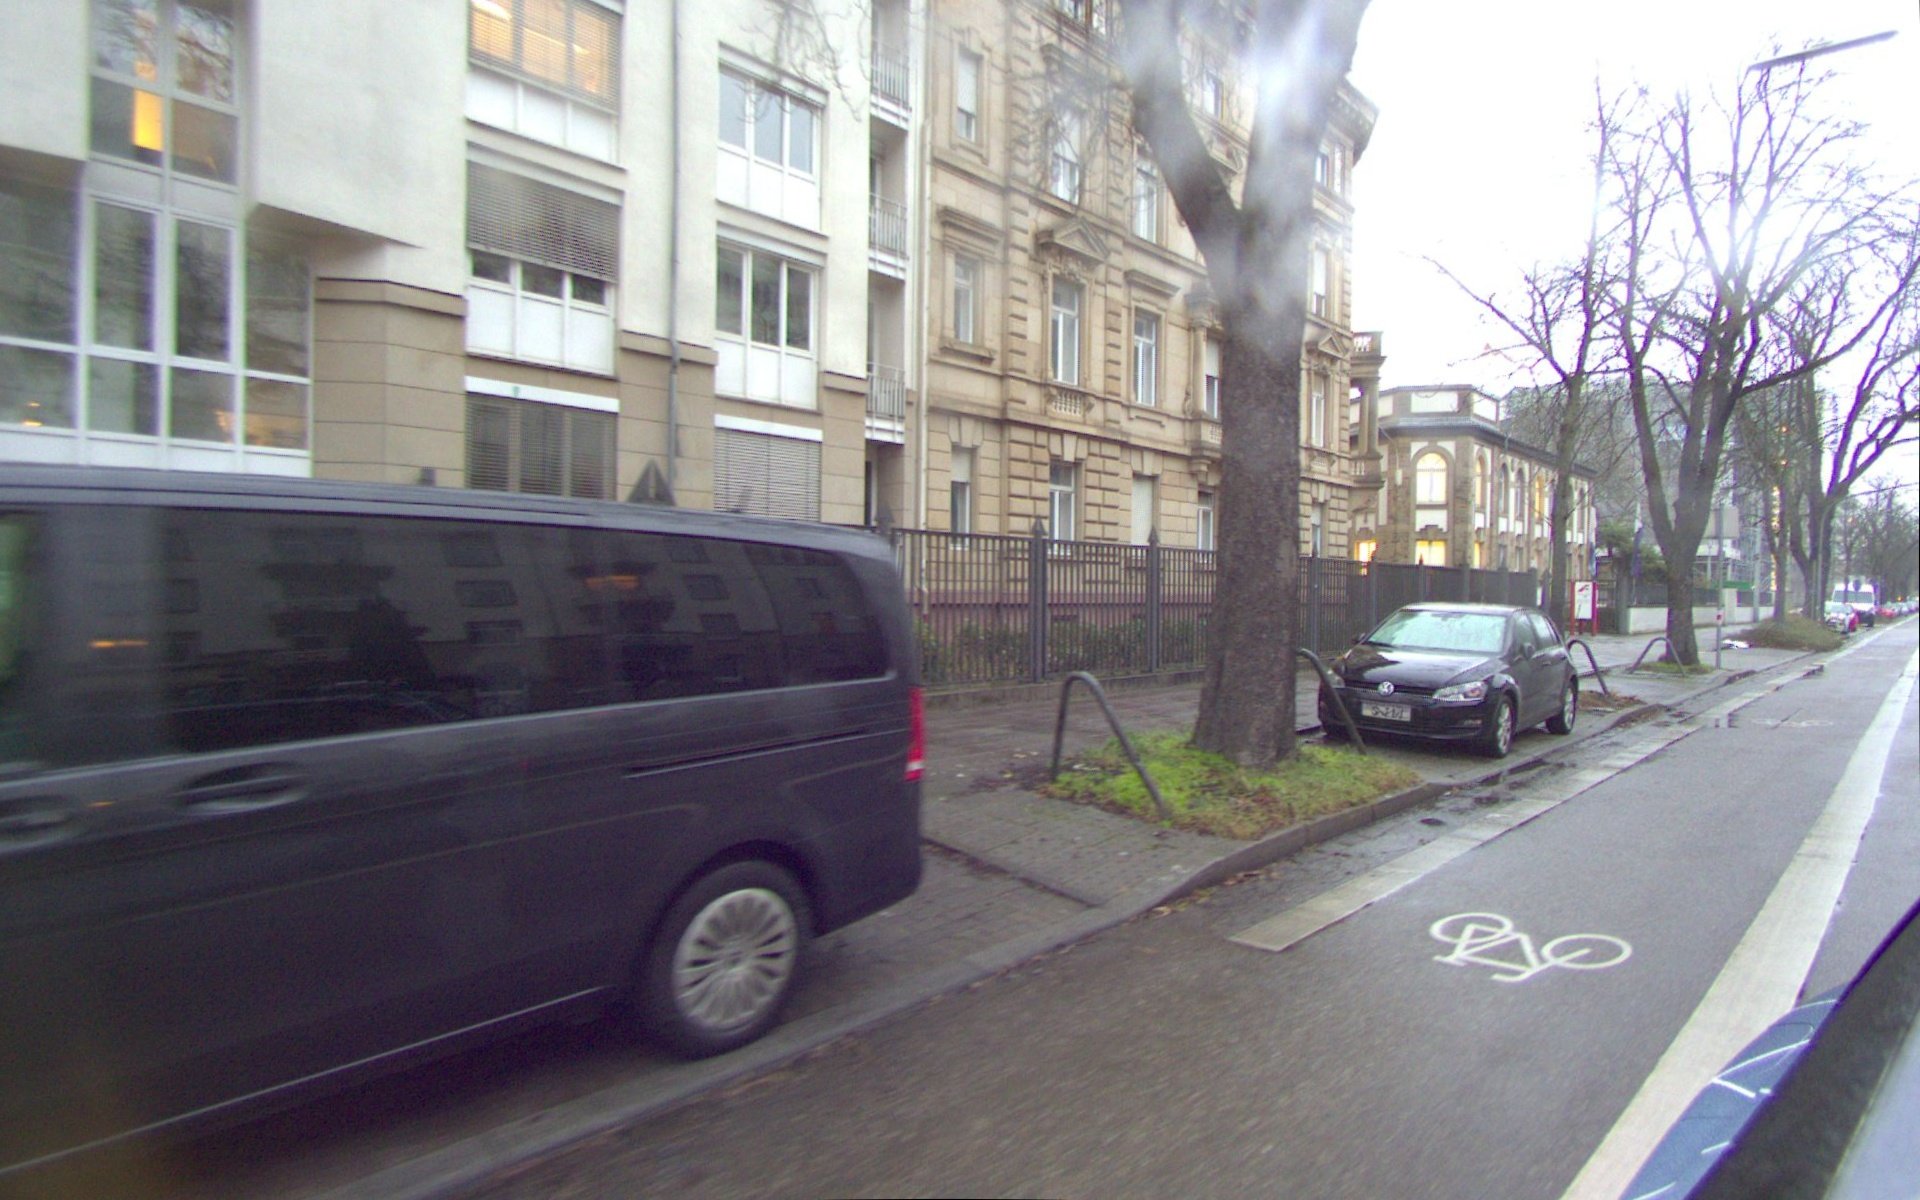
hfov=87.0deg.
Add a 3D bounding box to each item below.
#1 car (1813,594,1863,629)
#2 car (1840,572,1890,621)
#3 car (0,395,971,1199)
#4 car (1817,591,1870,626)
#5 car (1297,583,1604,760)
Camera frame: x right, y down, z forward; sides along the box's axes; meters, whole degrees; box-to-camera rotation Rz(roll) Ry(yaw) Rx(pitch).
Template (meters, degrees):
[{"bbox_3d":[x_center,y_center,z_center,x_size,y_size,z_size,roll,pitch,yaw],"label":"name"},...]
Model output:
[{"bbox_3d":[38.606,0.474,44.477,1.622,1.425,3.940,0,1,42],"label":"car"},{"bbox_3d":[52.225,-0.247,58.431,2.086,2.670,5.367,0,1,42],"label":"car"},{"bbox_3d":[-2.402,0.502,3.039,4.883,1.899,2.032,0,2,-45],"label":"car"},{"bbox_3d":[45.331,0.380,51.916,1.992,1.703,3.940,0,1,42],"label":"car"},{"bbox_3d":[5.406,0.620,10.890,1.758,1.463,4.091,4,2,44],"label":"car"}]
